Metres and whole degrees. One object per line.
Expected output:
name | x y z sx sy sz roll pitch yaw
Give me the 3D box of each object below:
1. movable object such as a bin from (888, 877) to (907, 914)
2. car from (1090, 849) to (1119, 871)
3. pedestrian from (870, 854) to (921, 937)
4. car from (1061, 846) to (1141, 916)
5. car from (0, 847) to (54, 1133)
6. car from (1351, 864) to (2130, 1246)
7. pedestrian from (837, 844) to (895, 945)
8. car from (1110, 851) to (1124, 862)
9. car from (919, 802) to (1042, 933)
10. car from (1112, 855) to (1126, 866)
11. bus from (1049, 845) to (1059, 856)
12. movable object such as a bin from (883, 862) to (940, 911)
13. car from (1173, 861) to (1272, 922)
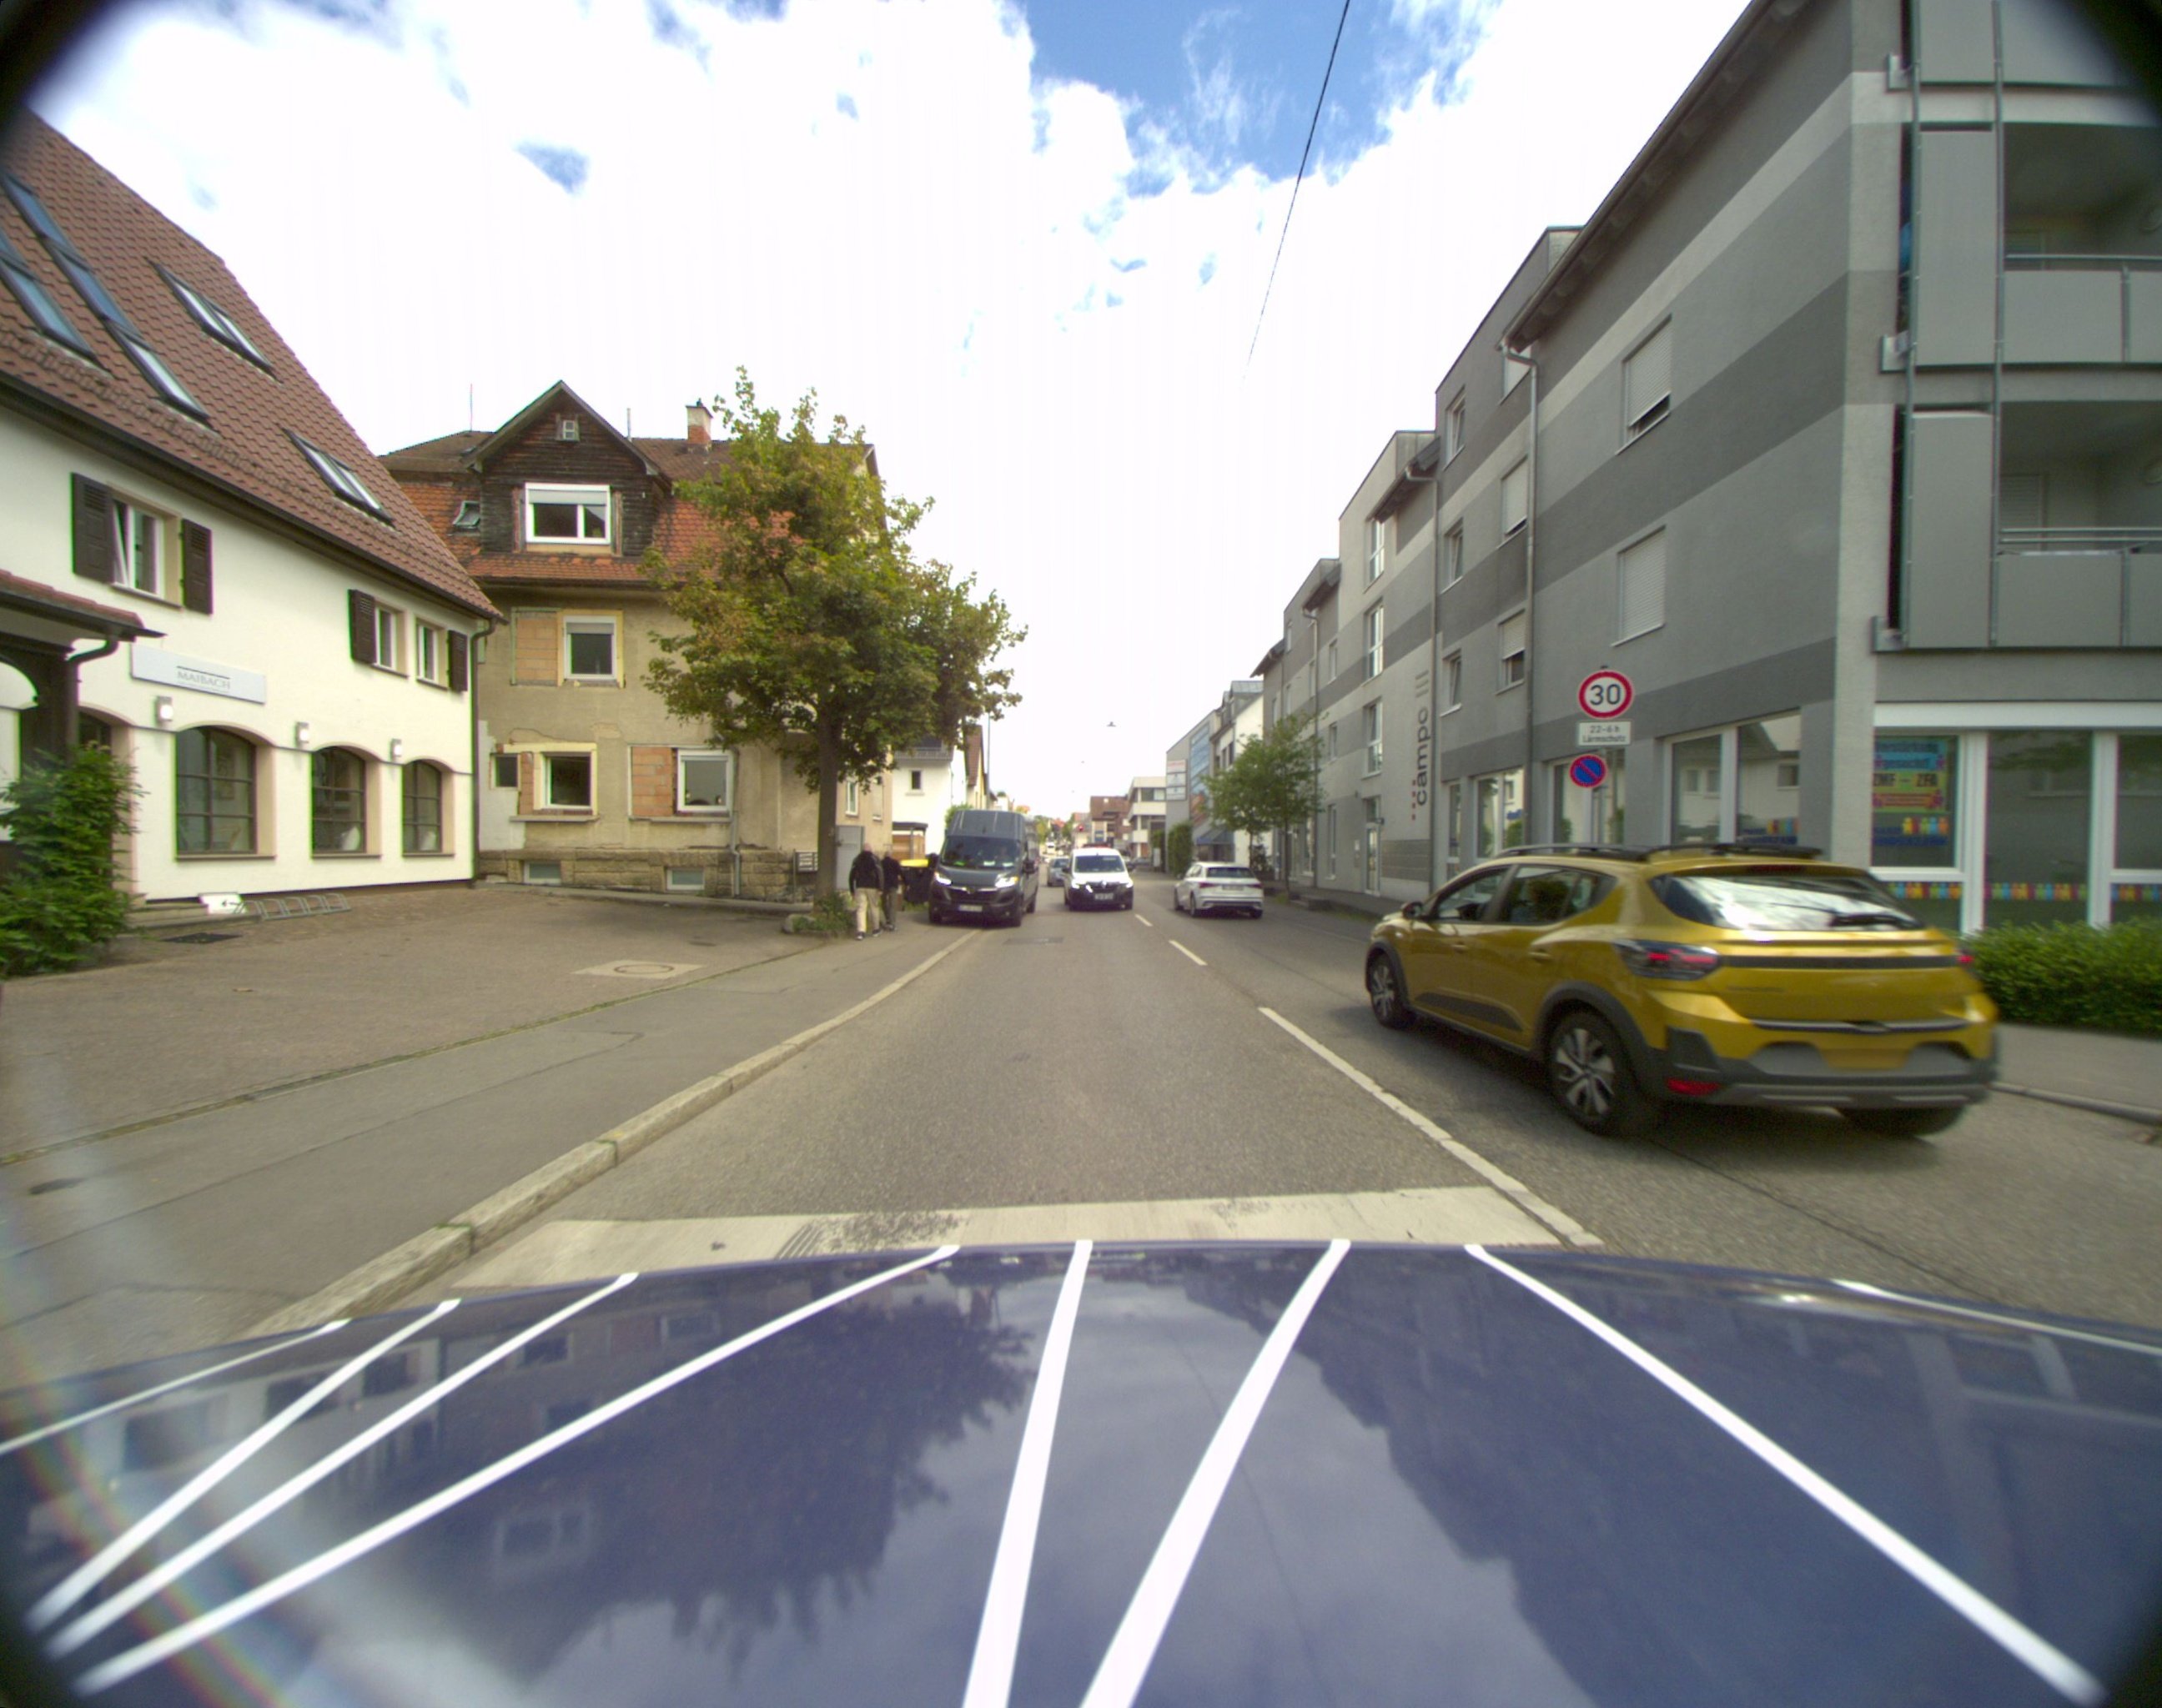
movable object such as a bin | -4.776 1.073 19.765 0.410 0.933 0.273 4 0 -12
car | 1.842 0.444 60.446 1.903 1.550 4.799 3 0 -2
pedestrian | -3.741 0.814 15.386 0.786 1.633 0.798 0 1 5
car | 0.462 0.704 22.298 1.871 1.805 5.005 0 0 -4
car | -7.396 0.654 2.724 1.752 1.508 4.087 4 0 24
car | 3.426 0.844 5.116 1.732 1.529 4.000 0 0 -1
pedestrian | -3.873 0.711 13.735 0.742 1.772 0.900 0 1 4
car | 5.363 0.339 112.979 1.809 1.521 4.001 0 1 5
car | -2.267 0.284 19.122 2.153 2.754 6.249 0 0 1
car | 5.264 0.904 106.111 1.840 1.418 4.218 0 1 1
bus | -8.782 -1.207 245.339 3.134 3.239 9.746 0 1 -3
movable object such as a bin | -4.659 0.868 20.805 1.188 1.258 1.206 0 1 -32
car | 3.681 0.922 20.446 1.879 1.416 4.115 0 0 0
